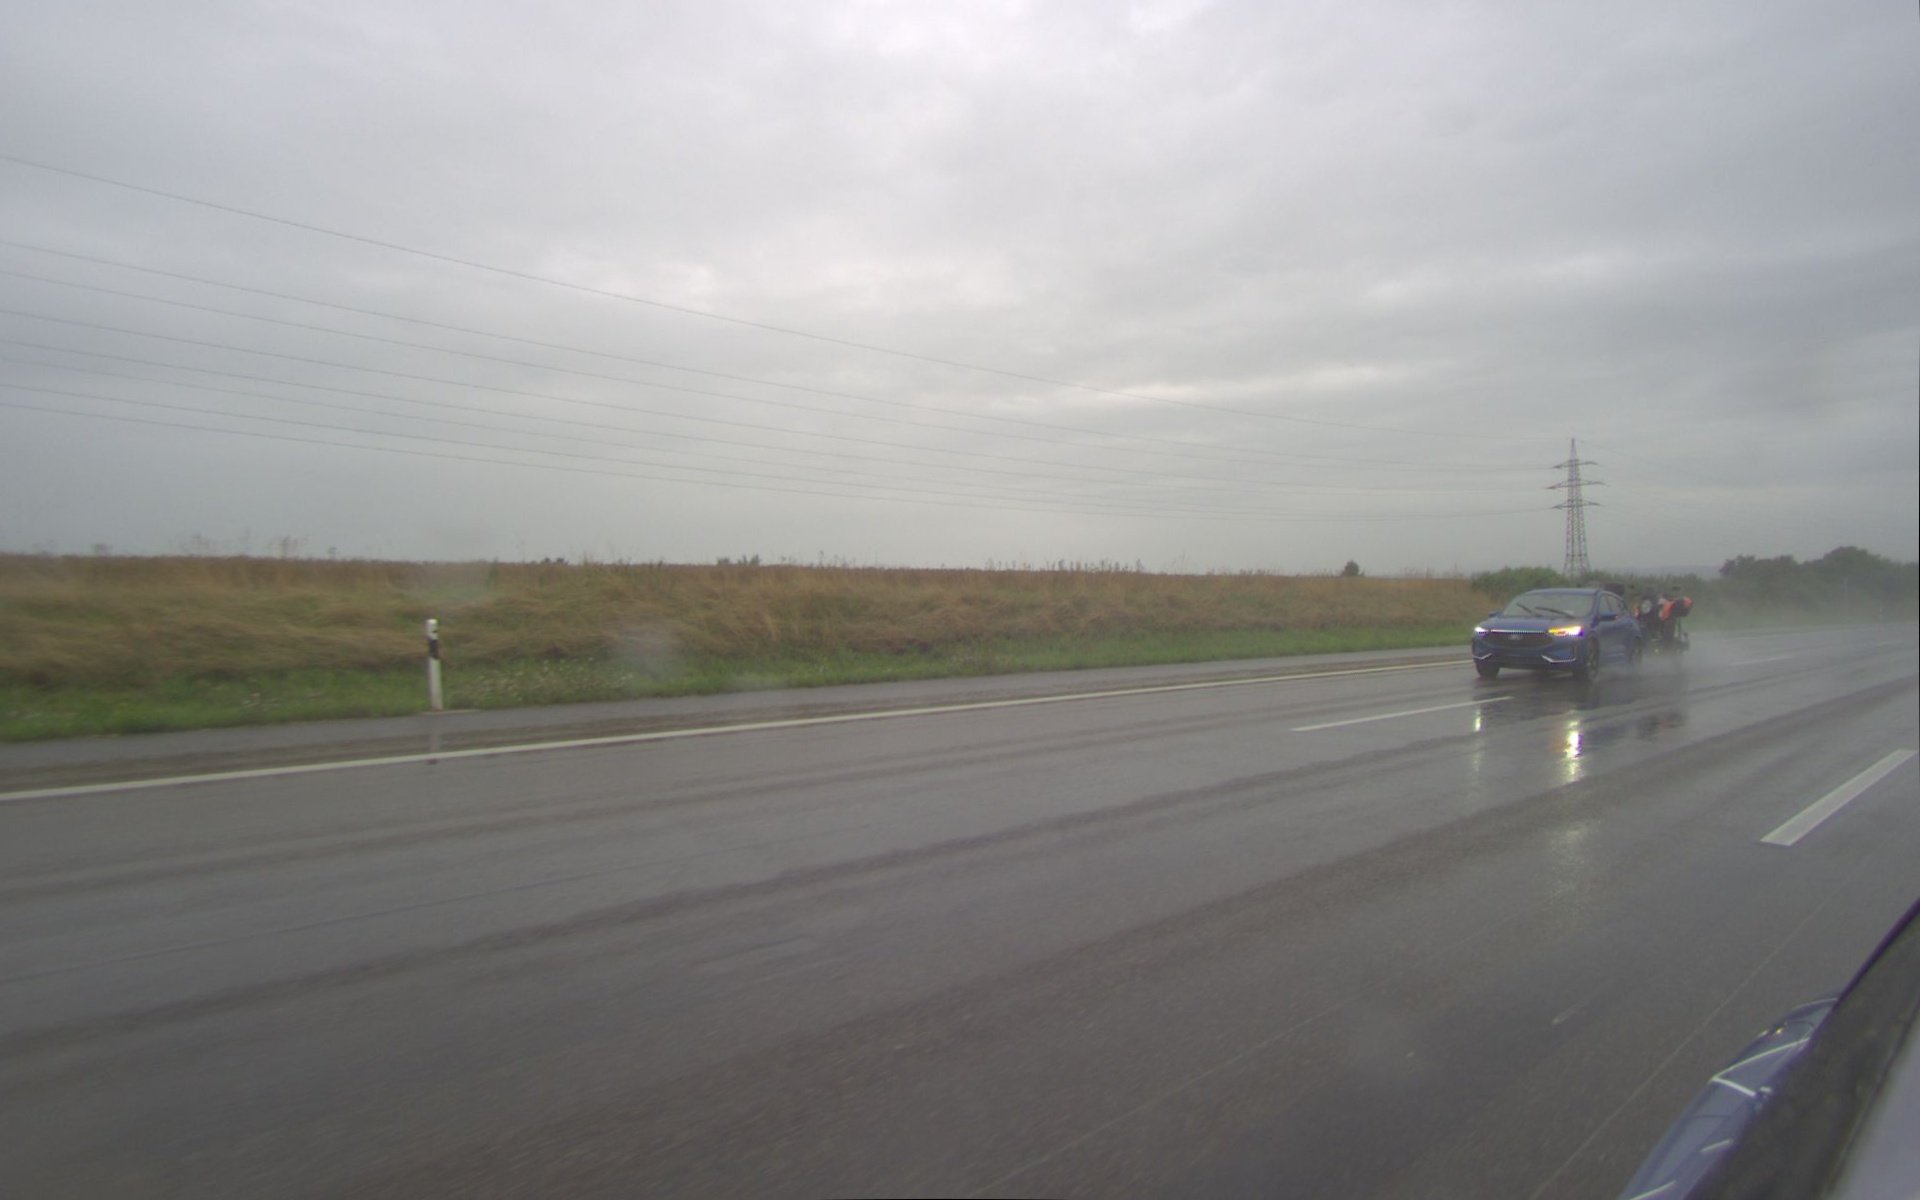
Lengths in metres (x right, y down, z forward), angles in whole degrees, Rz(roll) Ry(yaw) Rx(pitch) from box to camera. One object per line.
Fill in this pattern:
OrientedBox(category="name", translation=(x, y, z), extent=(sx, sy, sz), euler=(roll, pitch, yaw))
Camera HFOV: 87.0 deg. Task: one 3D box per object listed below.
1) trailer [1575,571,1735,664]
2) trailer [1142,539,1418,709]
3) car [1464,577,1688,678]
OrientedBox(category="trailer", translation=(14.659, 0.320, 21.323), extent=(3.131, 1.807, 1.983), euler=(0, 0, -39))
OrientedBox(category="trailer", translation=(4.565, 0.267, 14.191), extent=(3.932, 2.039, 1.996), euler=(0, 0, -42))
OrientedBox(category="car", translation=(11.525, 0.423, 18.788), extent=(4.902, 1.639, 1.998), euler=(0, 1, -38))
